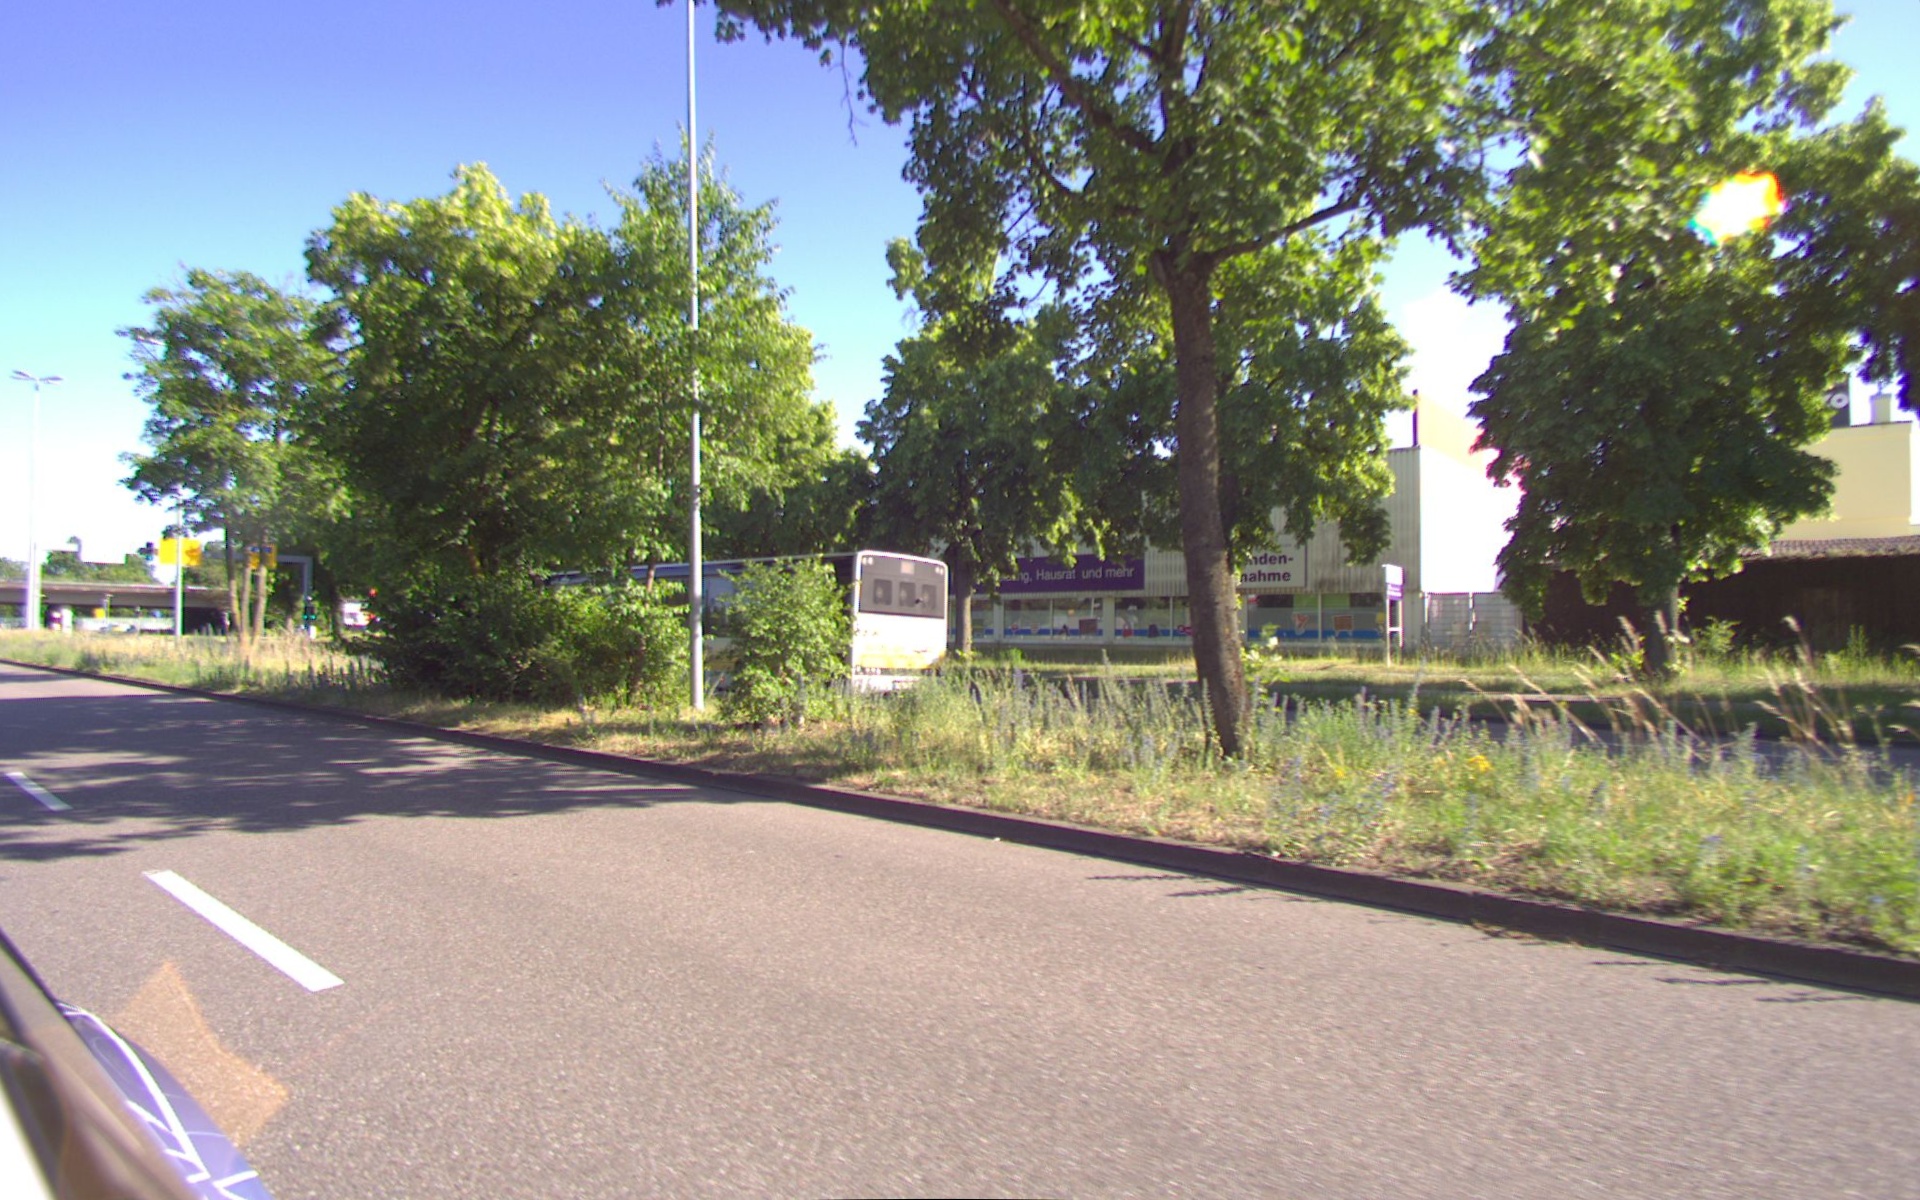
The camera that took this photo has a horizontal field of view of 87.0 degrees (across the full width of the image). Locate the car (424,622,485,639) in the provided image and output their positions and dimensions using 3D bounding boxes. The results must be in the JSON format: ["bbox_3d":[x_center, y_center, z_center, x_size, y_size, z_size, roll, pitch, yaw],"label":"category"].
[{"bbox_3d":[-42.120,2.550,84.431,1.943,1.399,4.080,-1,-3,37],"label":"car"}]

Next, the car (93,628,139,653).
[{"bbox_3d":[-59.582,2.845,71.423,4.162,1.760,1.689,-1,-2,39],"label":"car"}]

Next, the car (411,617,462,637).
[{"bbox_3d":[-60.231,3.120,116.502,4.989,2.168,1.890,0,-2,9],"label":"car"}]

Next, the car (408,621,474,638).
[{"bbox_3d":[-44.222,2.564,86.256,1.945,1.399,4.572,-2,-3,40],"label":"car"}]

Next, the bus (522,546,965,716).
[{"bbox_3d":[-5.021,0.721,20.983,11.079,2.742,2.693,-2,-5,40],"label":"bus"}]

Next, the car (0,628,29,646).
[{"bbox_3d":[-92.915,3.641,99.140,4.626,1.710,1.922,-2,-5,40],"label":"car"}]

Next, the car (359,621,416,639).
[{"bbox_3d":[-52.184,2.743,92.286,1.946,1.563,4.073,-2,-3,43],"label":"car"}]

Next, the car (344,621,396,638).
[{"bbox_3d":[-57.230,2.857,98.201,4.065,1.563,1.899,2,-3,-39],"label":"car"}]

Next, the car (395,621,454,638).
[{"bbox_3d":[-46.240,2.588,87.410,1.943,1.399,4.080,-1,-3,37],"label":"car"}]

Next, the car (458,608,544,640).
[{"bbox_3d":[-36.040,1.933,79.631,2.203,2.452,5.823,-1,-3,37],"label":"car"}]

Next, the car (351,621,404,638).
[{"bbox_3d":[-55.550,2.804,96.511,1.819,1.563,4.070,-2,-3,45],"label":"car"}]
